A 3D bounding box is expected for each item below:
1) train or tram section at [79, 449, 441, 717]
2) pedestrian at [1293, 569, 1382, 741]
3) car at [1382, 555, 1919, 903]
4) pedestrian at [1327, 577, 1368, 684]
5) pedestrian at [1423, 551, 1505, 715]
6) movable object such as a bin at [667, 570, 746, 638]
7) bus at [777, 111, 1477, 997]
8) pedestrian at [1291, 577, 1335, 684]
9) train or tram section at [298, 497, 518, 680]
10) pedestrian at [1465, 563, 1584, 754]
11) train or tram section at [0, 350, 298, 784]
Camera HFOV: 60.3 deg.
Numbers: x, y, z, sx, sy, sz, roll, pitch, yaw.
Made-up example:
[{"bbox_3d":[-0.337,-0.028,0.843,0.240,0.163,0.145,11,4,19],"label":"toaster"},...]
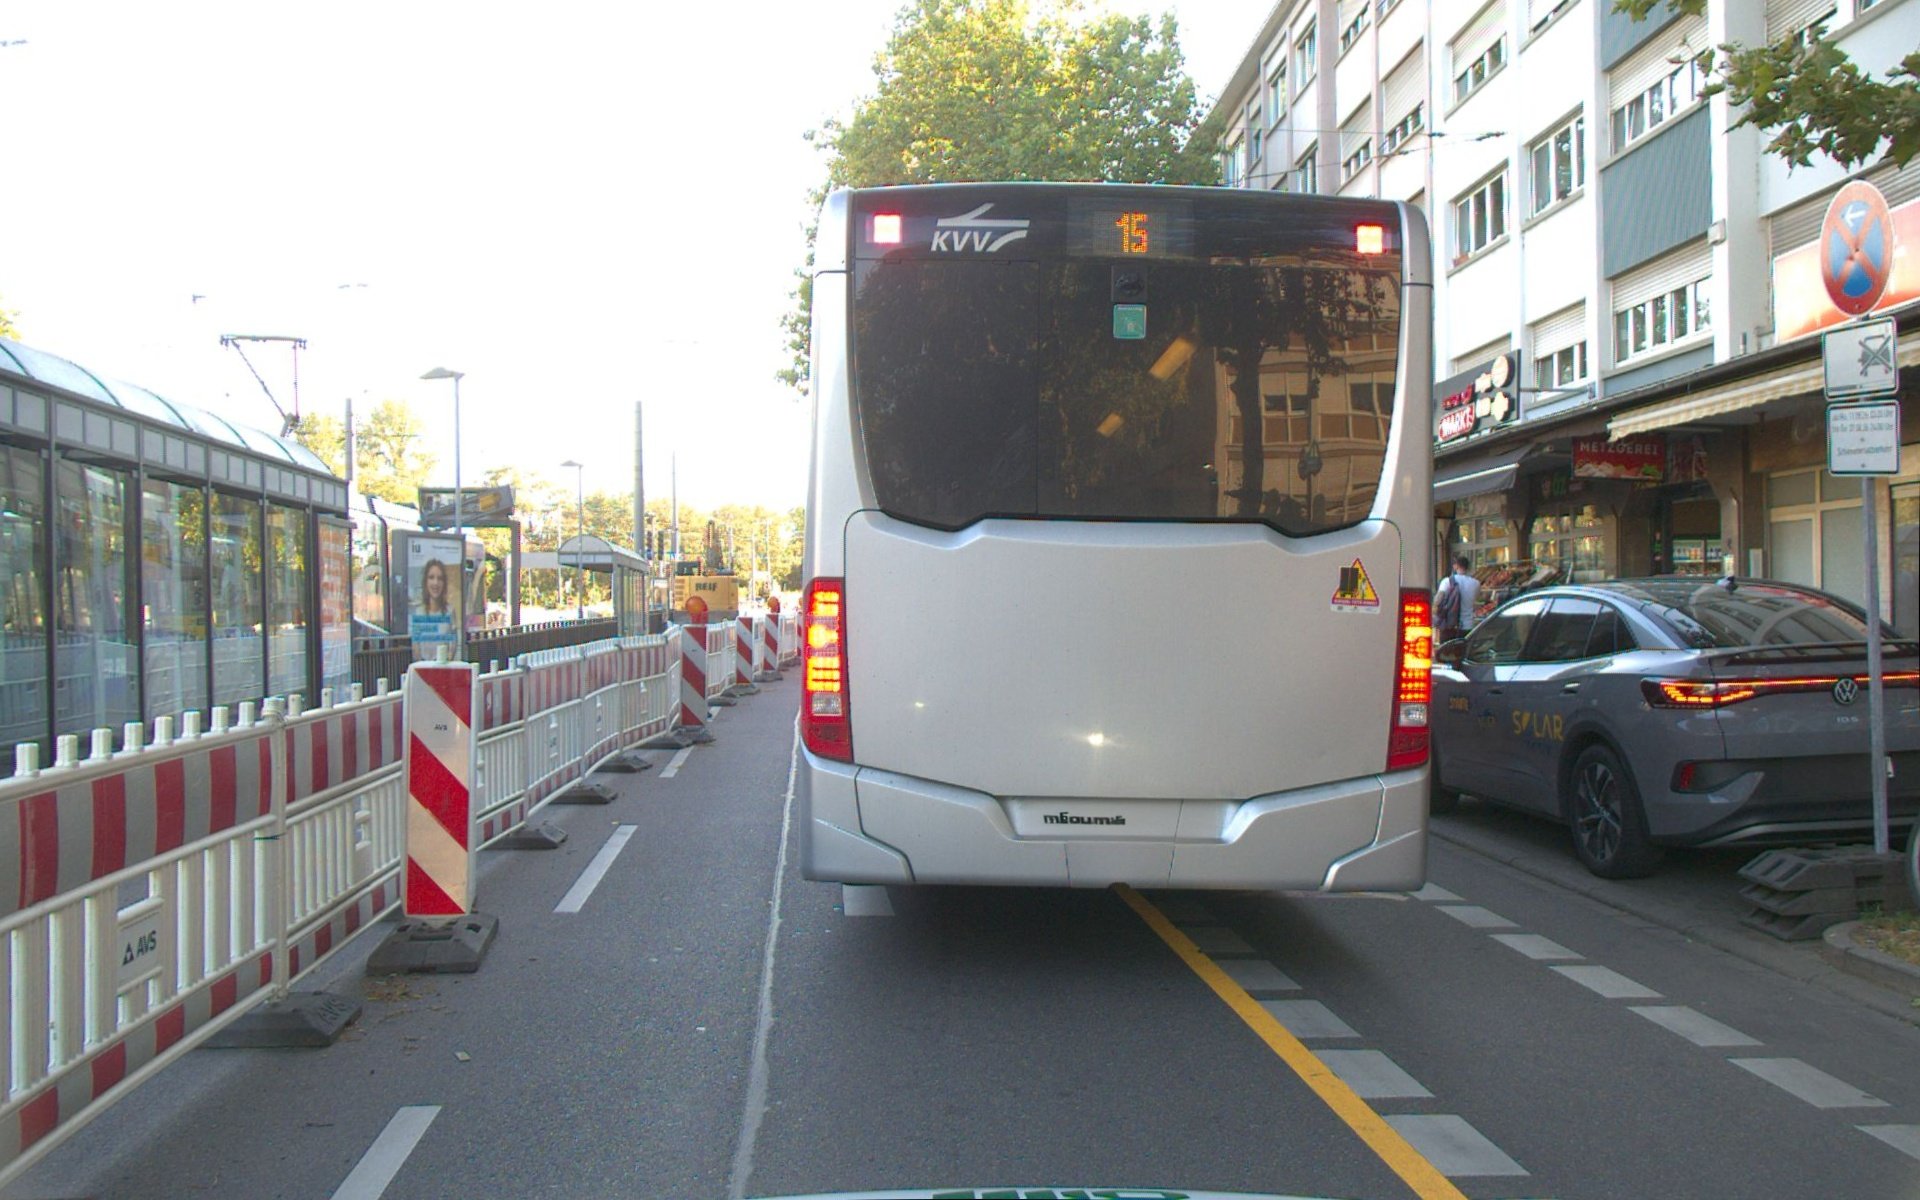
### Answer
[{"bbox_3d":[-10.929,-0.219,27.197,2.782,3.548,10.321,0,0,-7],"label":"train or tram section"},{"bbox_3d":[3.938,0.562,17.307,0.738,1.756,0.660,-1,0,-3],"label":"pedestrian"},{"bbox_3d":[4.216,0.616,10.246,1.706,1.625,4.294,-3,0,-5],"label":"car"},{"bbox_3d":[7.498,0.589,31.997,0.600,2.049,0.696,-1,-1,-1],"label":"pedestrian"},{"bbox_3d":[6.453,0.416,21.194,0.753,2.049,0.713,-2,0,0],"label":"pedestrian"},{"bbox_3d":[-9.690,0.153,63.453,2.752,2.505,3.995,0,0,-6],"label":"movable object such as a bin"},{"bbox_3d":[0.576,-0.176,11.189,2.555,3.225,10.290,0,0,0],"label":"bus"},{"bbox_3d":[6.820,0.585,31.973,0.677,2.049,0.696,-1,-1,-1],"label":"pedestrian"},{"bbox_3d":[-12.142,-0.216,37.441,2.763,3.548,10.321,0,0,-7],"label":"train or tram section"},{"bbox_3d":[4.967,0.494,14.534,0.737,1.608,0.873,-1,-1,37],"label":"pedestrian"},{"bbox_3d":[-9.685,-0.253,16.942,2.816,3.548,10.322,0,0,-7],"label":"train or tram section"}]
